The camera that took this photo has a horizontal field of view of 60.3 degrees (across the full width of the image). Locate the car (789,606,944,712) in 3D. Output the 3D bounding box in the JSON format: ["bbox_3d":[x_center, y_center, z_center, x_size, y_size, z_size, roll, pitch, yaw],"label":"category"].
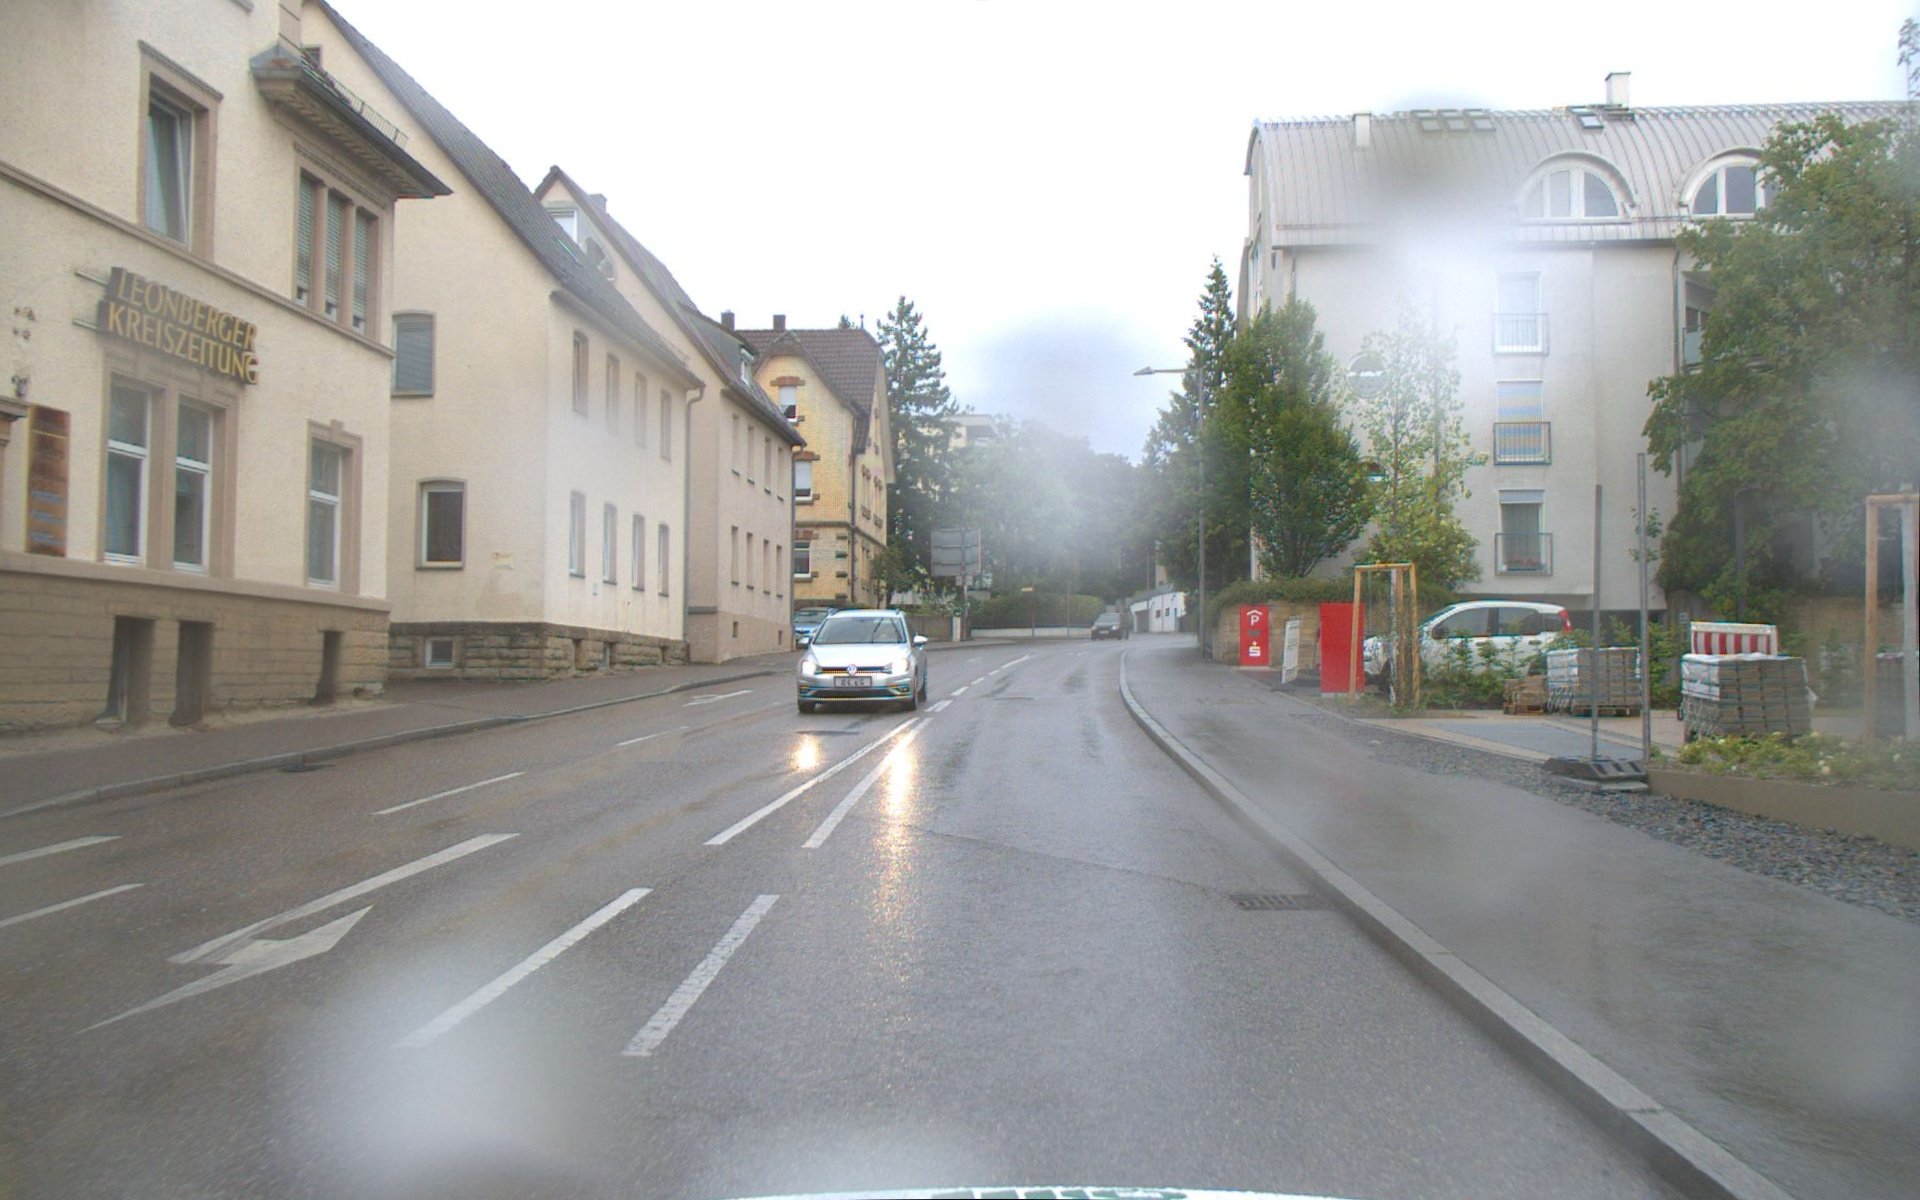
[{"bbox_3d":[-1.338,0.836,25.565,1.761,1.464,4.691,0,0,5],"label":"car"}]

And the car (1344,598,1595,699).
[{"bbox_3d":[8.202,0.757,26.863,3.589,1.529,1.777,1,0,5],"label":"car"}]

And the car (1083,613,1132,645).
[{"bbox_3d":[8.006,1.577,89.458,1.709,1.599,3.813,3,0,20],"label":"car"}]

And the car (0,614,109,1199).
[{"bbox_3d":[-3.427,0.762,2.299,1.761,1.464,4.691,0,0,5],"label":"car"}]

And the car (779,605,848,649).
[{"bbox_3d":[-5.376,0.972,60.946,1.733,1.529,3.885,1,0,7],"label":"car"}]
